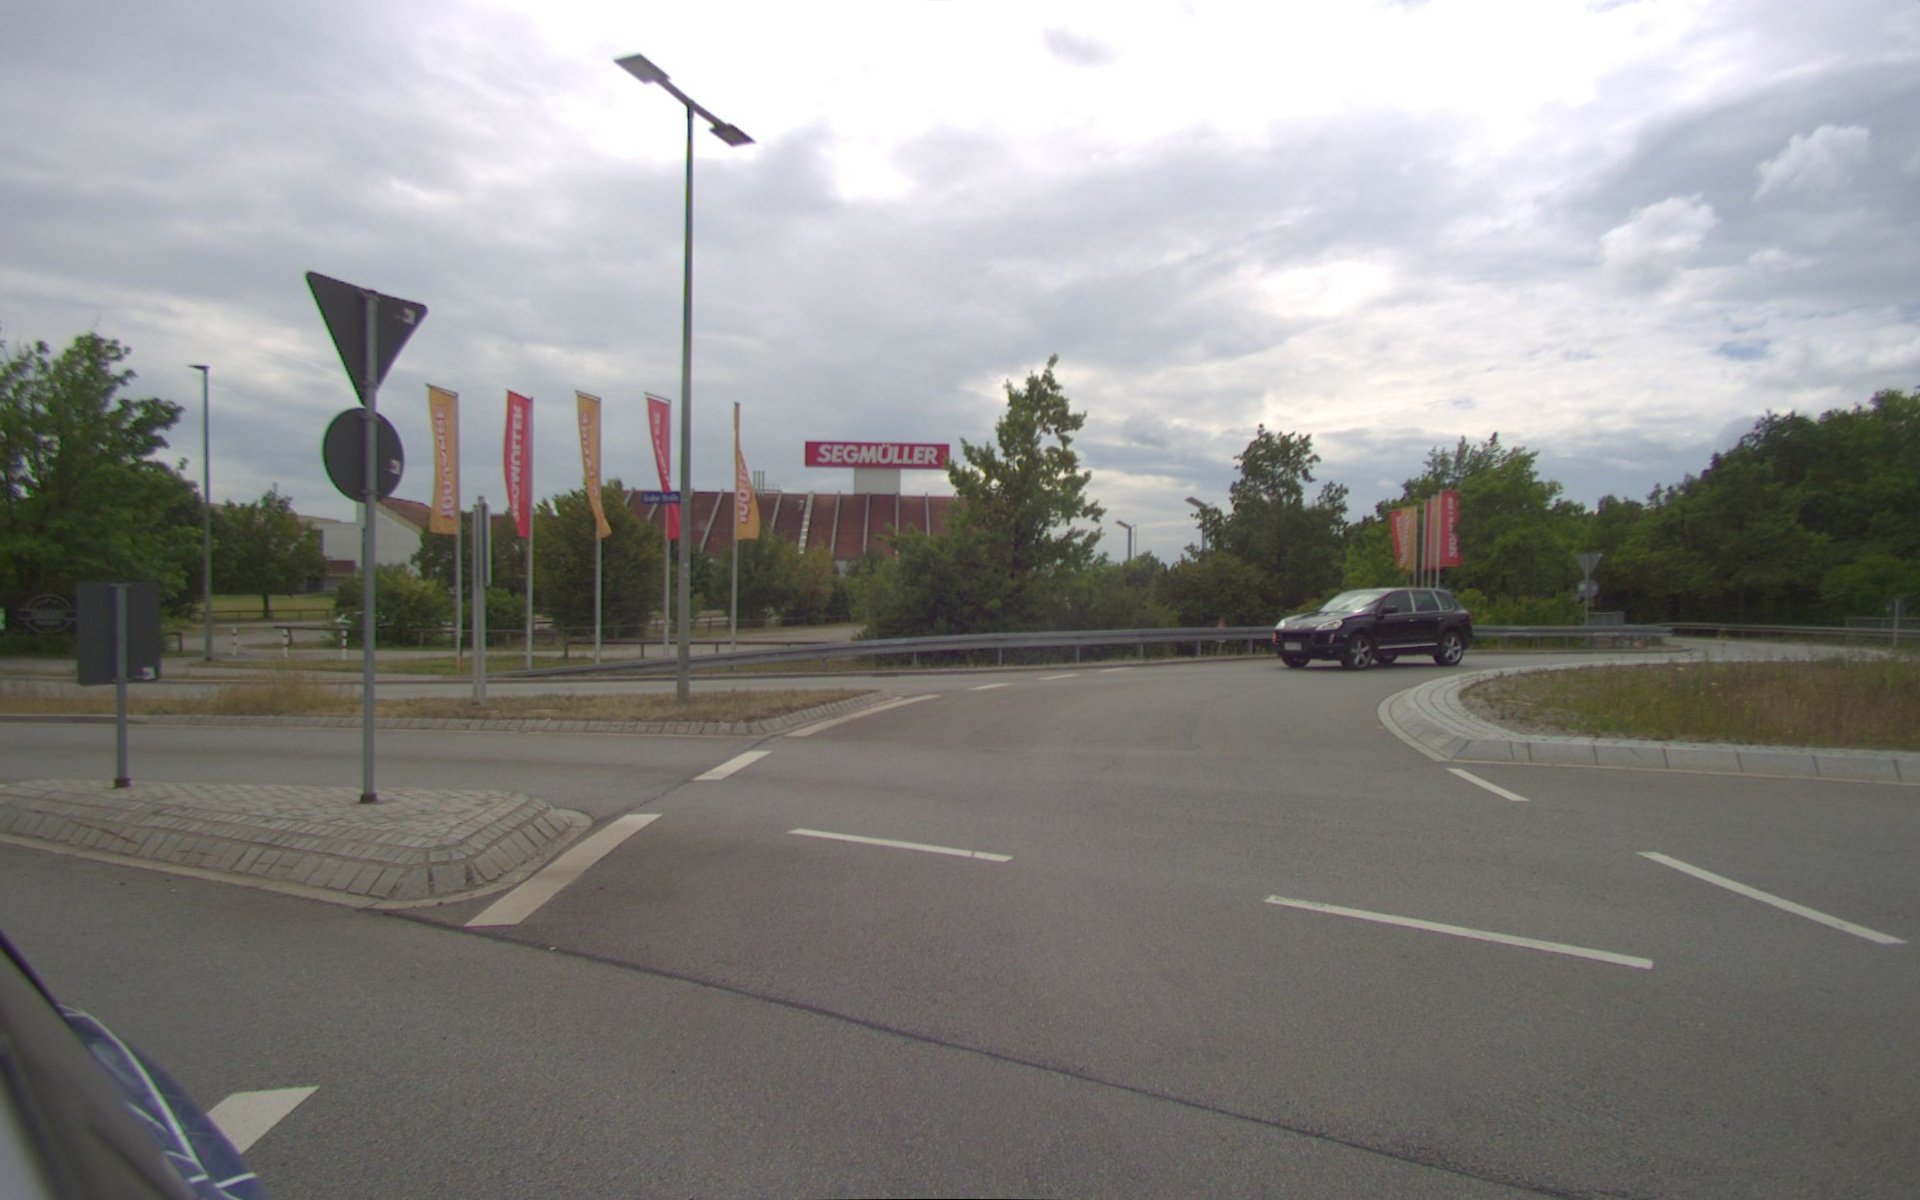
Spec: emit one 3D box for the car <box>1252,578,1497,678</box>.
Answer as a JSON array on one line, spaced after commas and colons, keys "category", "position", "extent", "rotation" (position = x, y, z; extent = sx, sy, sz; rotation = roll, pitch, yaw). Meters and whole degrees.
[{"category": "car", "position": [9.023, 0.520, 21.975], "extent": [4.964, 1.804, 2.112], "rotation": [-3, 2, -26]}]
